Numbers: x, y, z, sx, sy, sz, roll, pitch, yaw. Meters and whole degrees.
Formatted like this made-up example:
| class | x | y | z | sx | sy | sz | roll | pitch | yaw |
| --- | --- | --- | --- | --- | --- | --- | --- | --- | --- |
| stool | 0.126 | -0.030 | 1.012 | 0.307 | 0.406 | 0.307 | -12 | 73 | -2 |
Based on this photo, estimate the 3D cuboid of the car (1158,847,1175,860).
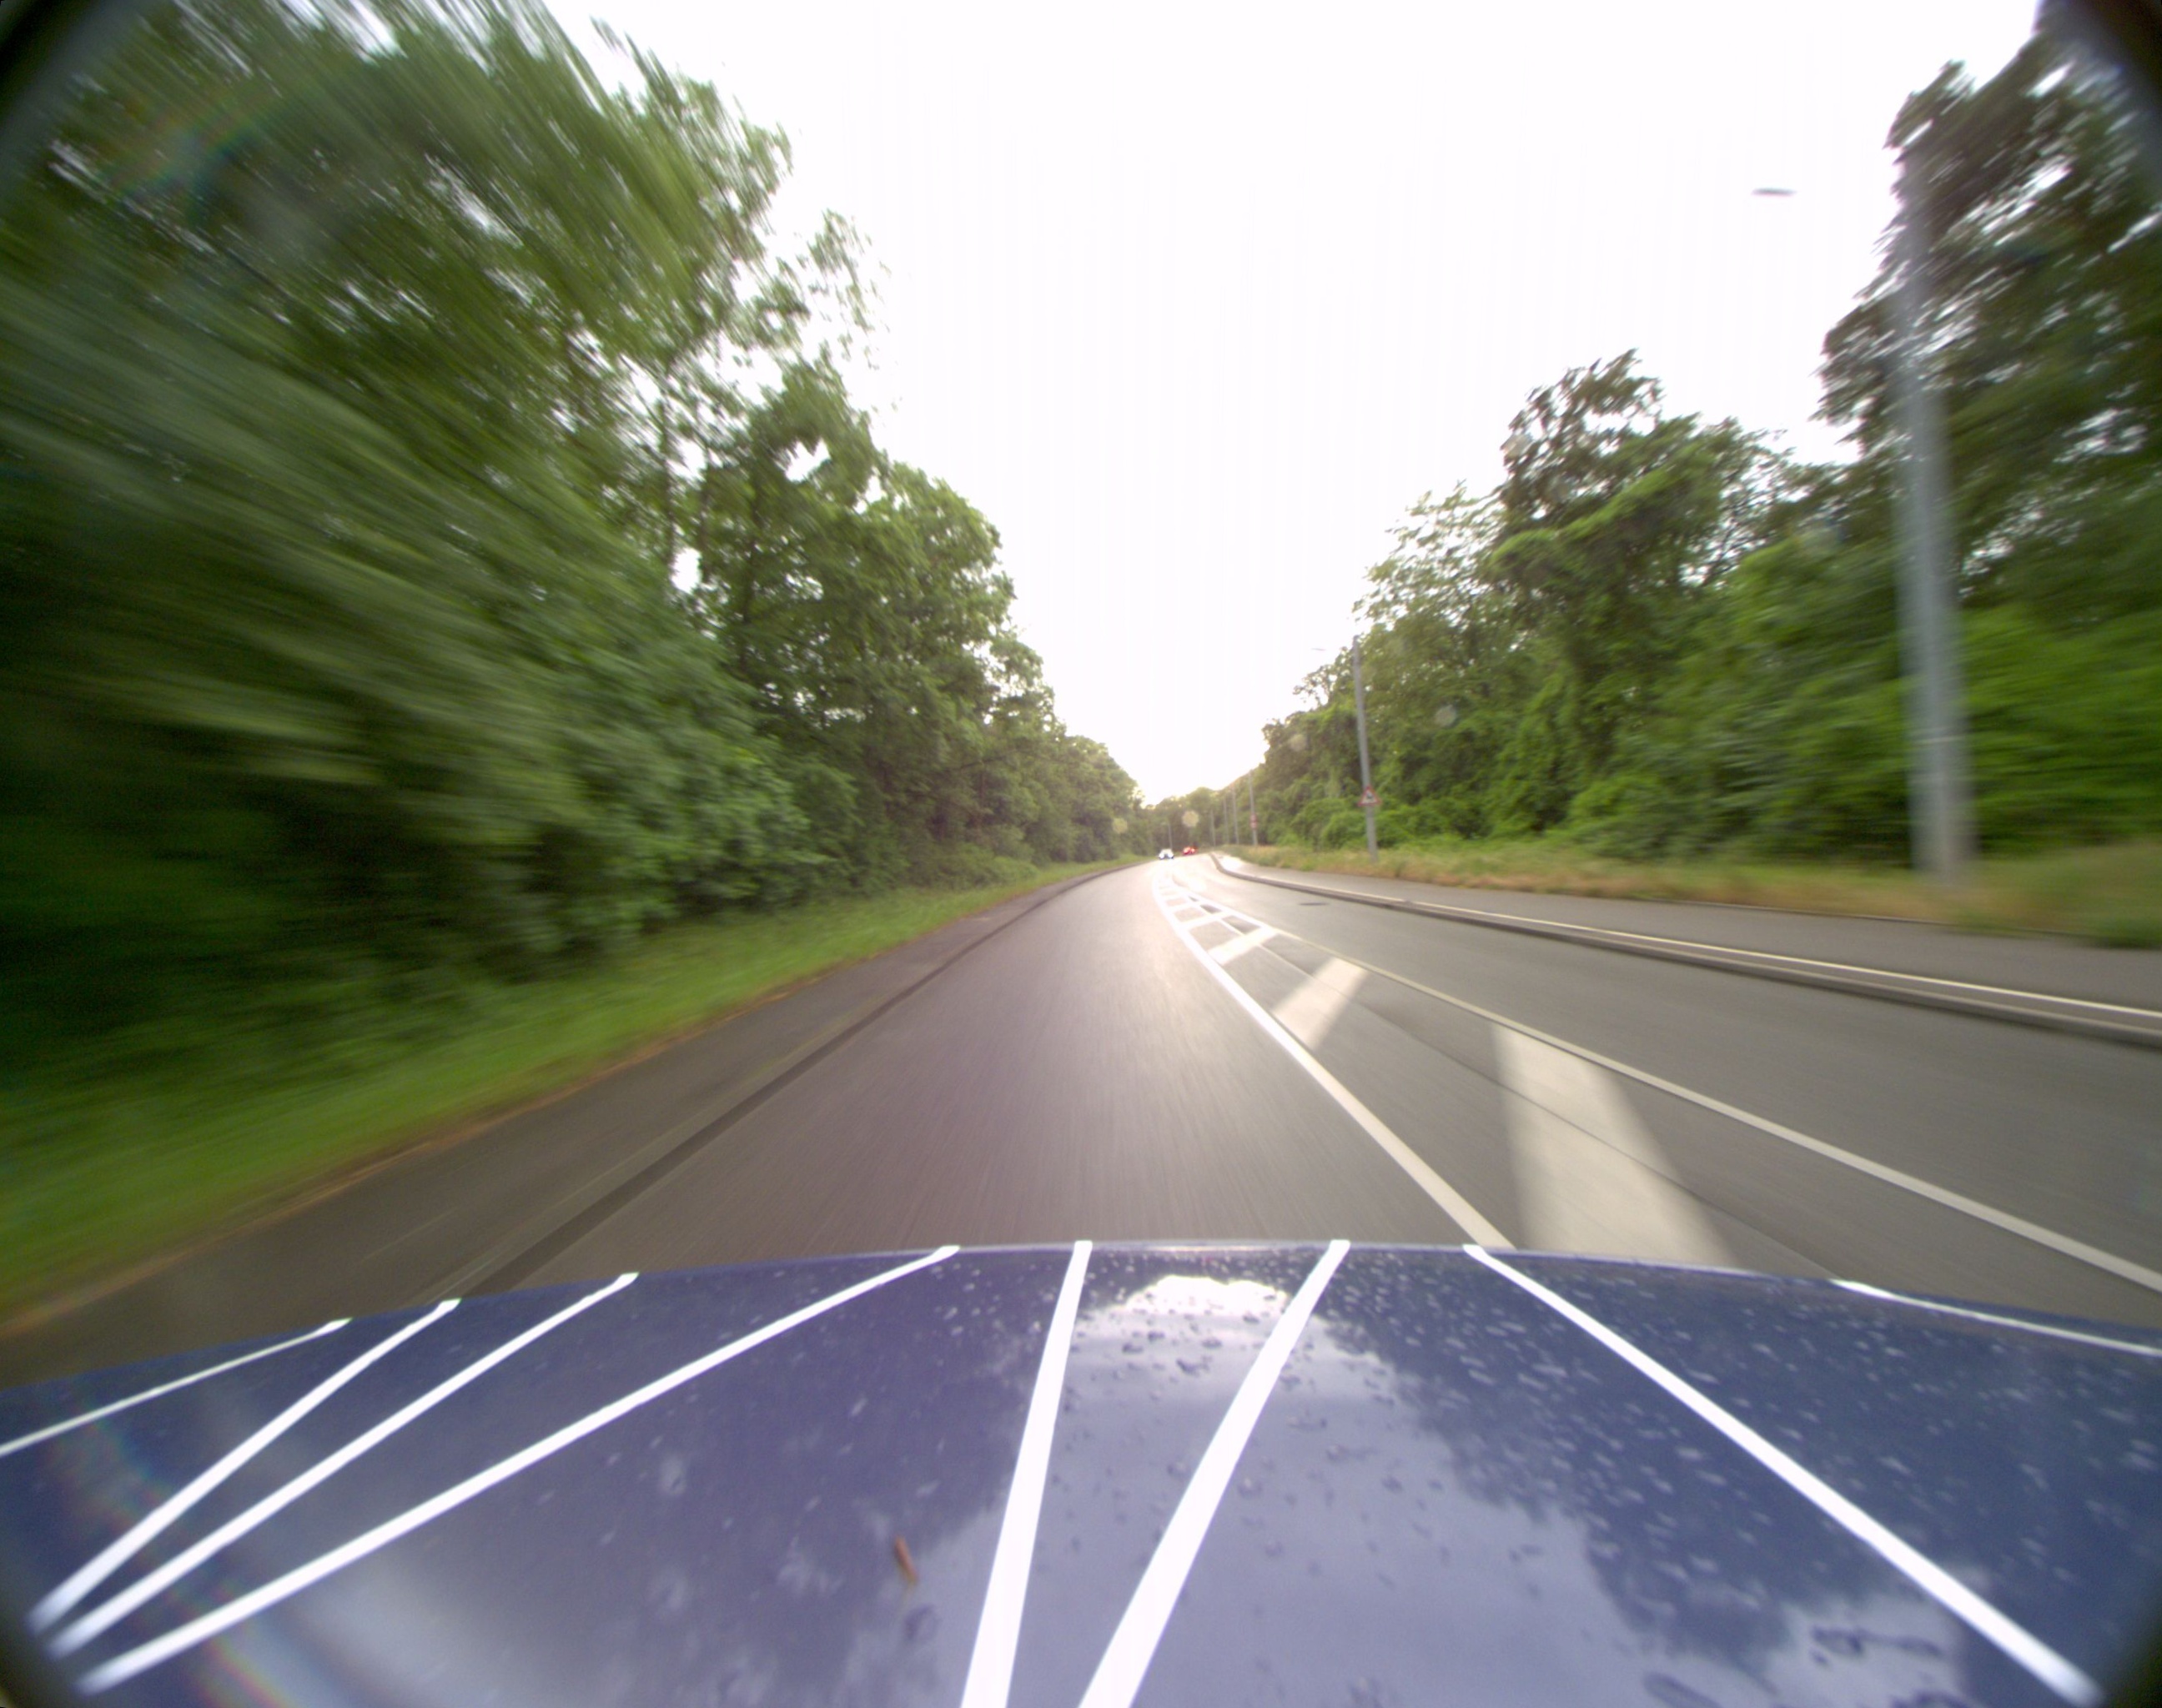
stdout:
| class | x | y | z | sx | sy | sz | roll | pitch | yaw |
| --- | --- | --- | --- | --- | --- | --- | --- | --- | --- |
| car | 11.585 | -0.080 | 102.440 | 1.997 | 1.674 | 4.002 | -3 | 1 | 10 |

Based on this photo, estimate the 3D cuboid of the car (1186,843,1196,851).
| class | x | y | z | sx | sy | sz | roll | pitch | yaw |
| --- | --- | --- | --- | --- | --- | --- | --- | --- | --- |
| car | 23.819 | -1.458 | 164.692 | 1.997 | 1.674 | 4.001 | -3 | 1 | 7 |
